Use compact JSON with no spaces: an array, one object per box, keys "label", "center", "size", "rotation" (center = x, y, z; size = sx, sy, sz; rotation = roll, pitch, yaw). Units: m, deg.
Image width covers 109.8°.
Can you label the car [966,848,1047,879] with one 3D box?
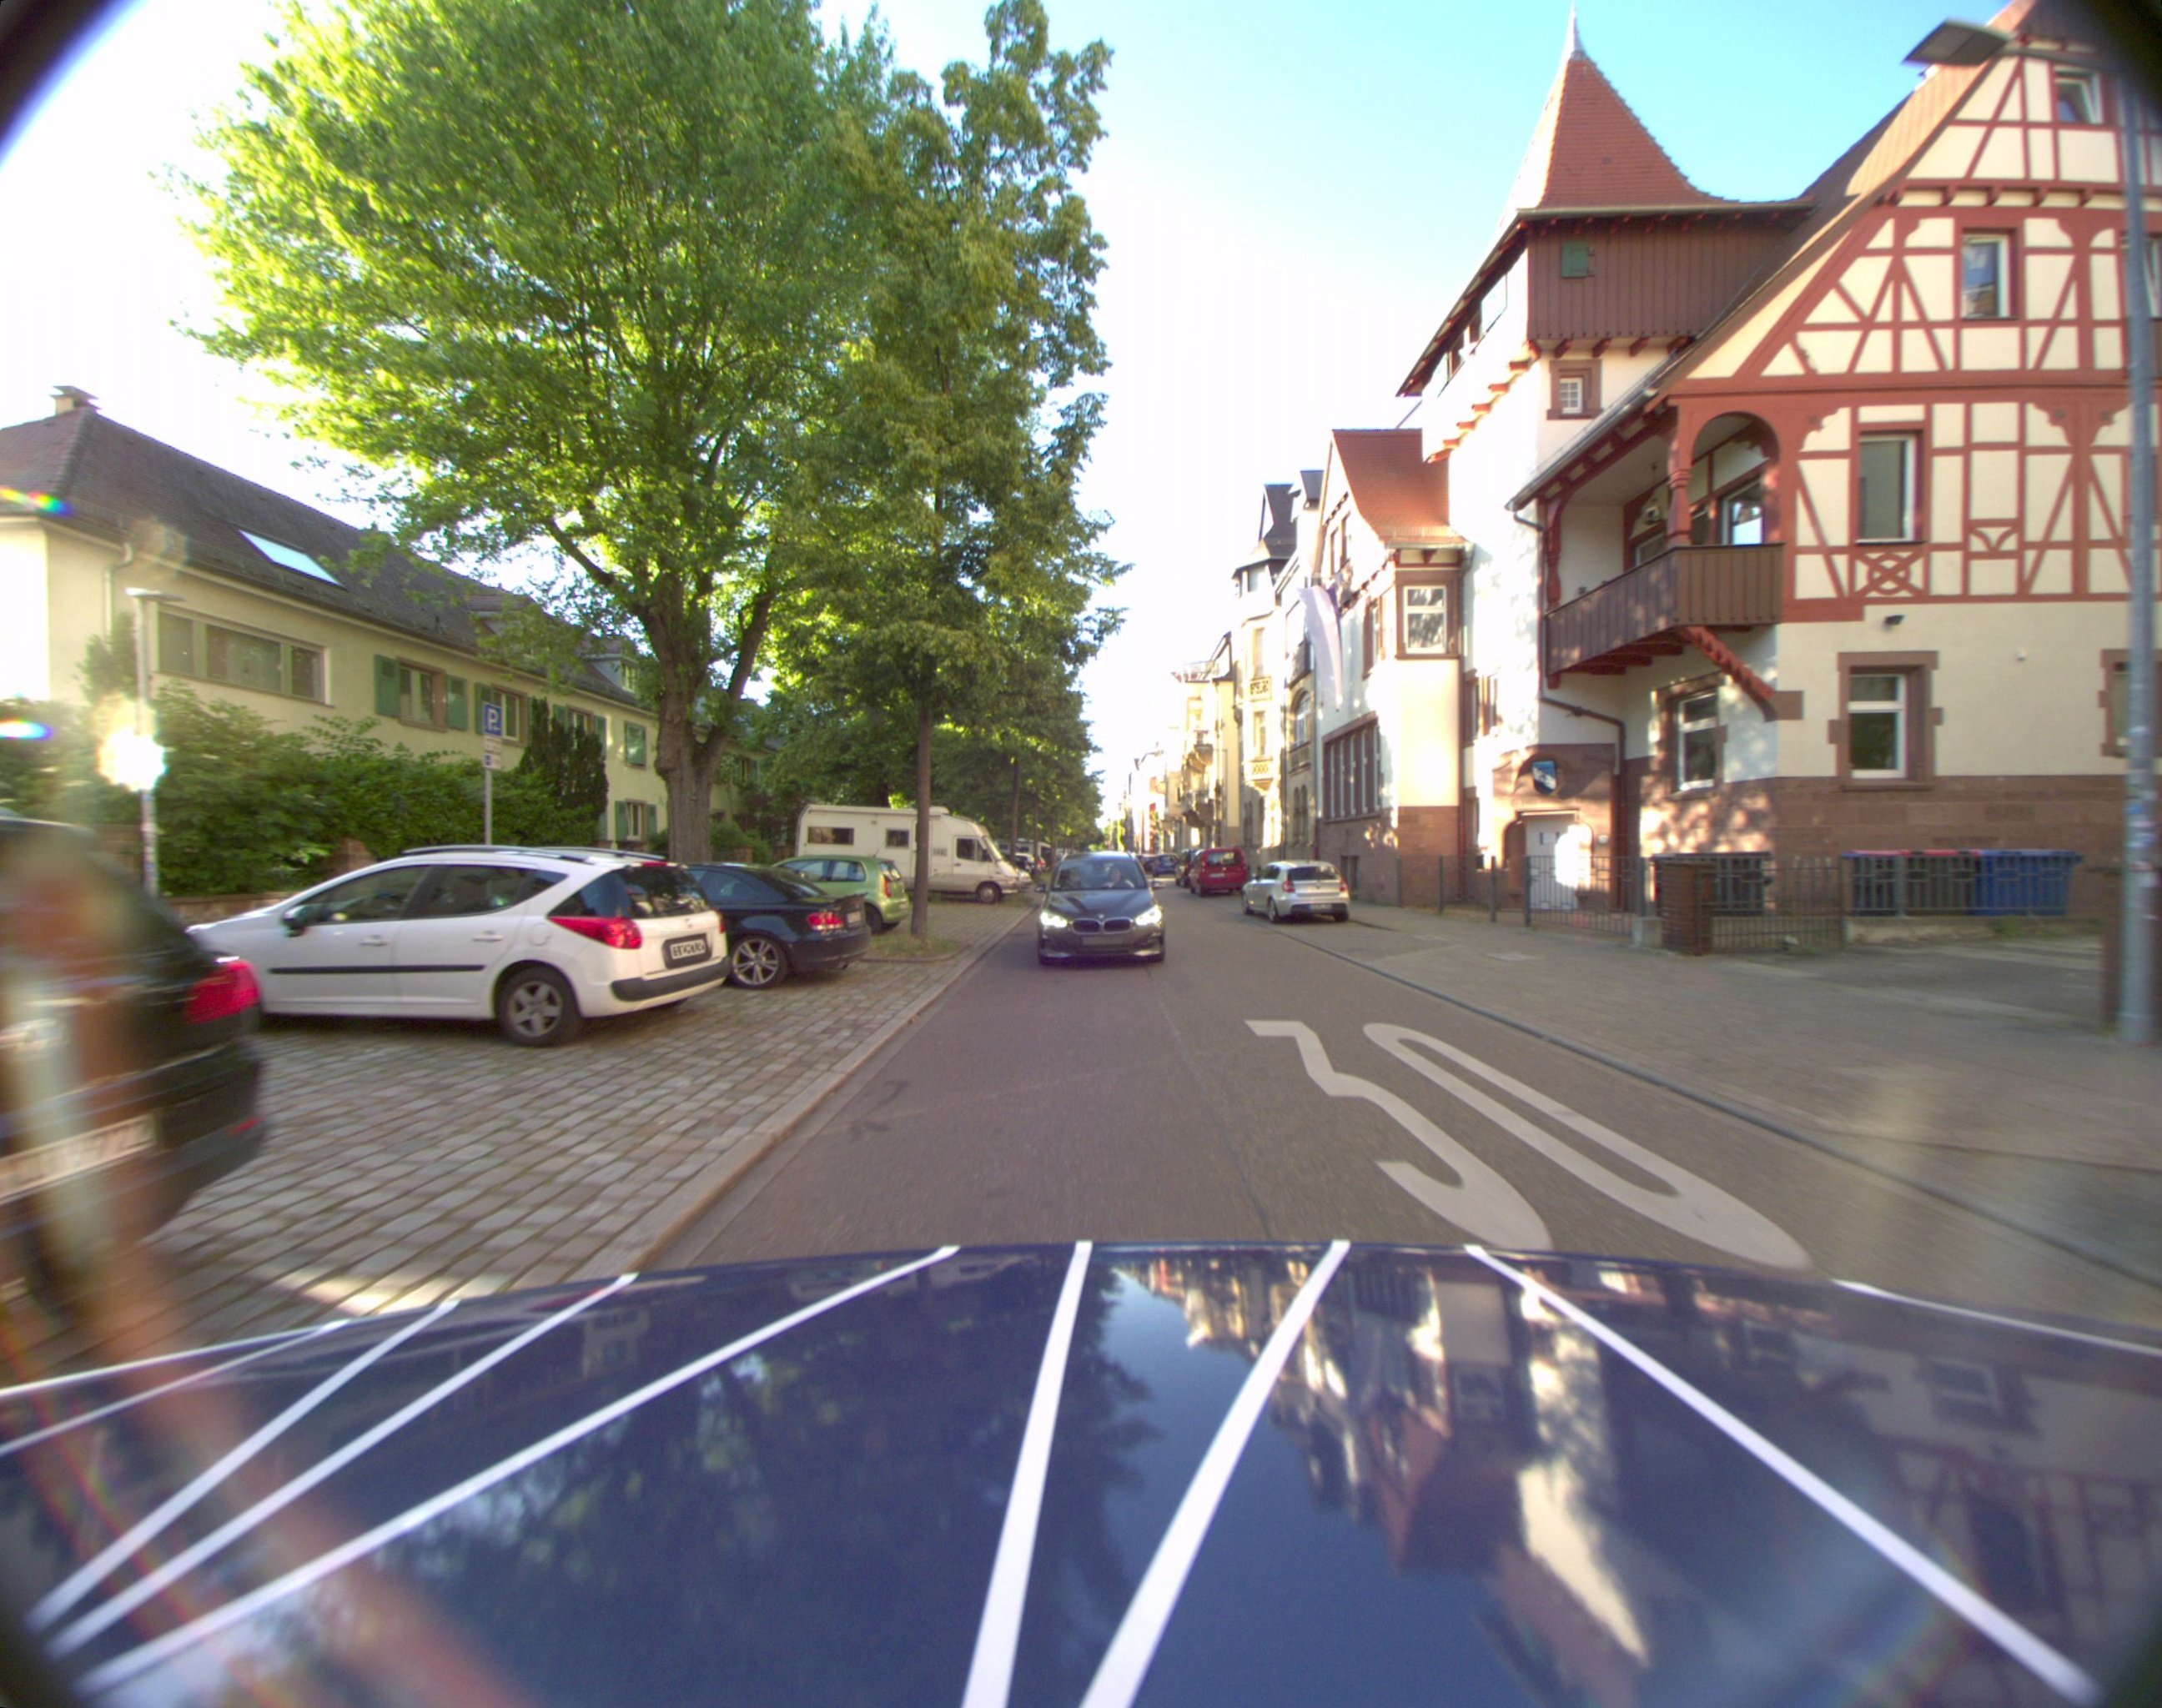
[{"label":"car","center":[-4.143,0.497,42.672],"size":[4.344,1.599,1.927],"rotation":[1,1,0]}]

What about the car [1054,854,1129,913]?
[{"label":"car","center":[0.225,0.841,23.528],"size":[1.999,1.584,4.261],"rotation":[-2,0,-3]}]

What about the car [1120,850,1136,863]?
[{"label":"car","center":[6.358,0.302,103.642],"size":[1.862,1.595,4.000],"rotation":[-3,0,1]}]

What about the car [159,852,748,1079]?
[{"label":"car","center":[-5.087,0.821,6.498],"size":[3.701,1.641,1.704],"rotation":[0,1,4]}]

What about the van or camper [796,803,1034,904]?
[{"label":"van or camper","center":[-5.135,-0.022,24.431],"size":[7.095,3.060,2.464],"rotation":[0,1,-2]}]

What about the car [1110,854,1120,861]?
[{"label":"car","center":[6.251,0.645,140.253],"size":[1.702,1.372,4.000],"rotation":[0,0,1]}]

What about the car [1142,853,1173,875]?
[{"label":"car","center":[5.833,0.728,58.386],"size":[1.905,1.430,4.541],"rotation":[-4,0,1]}]

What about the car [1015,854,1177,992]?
[{"label":"car","center":[0.238,0.854,11.657],"size":[1.924,1.597,4.517],"rotation":[-3,0,1]}]

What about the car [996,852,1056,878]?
[{"label":"car","center":[-3.253,0.640,45.348],"size":[3.456,1.467,1.693],"rotation":[1,1,1]}]

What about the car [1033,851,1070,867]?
[{"label":"car","center":[-3.309,0.522,85.982],"size":[3.997,1.804,2.000],"rotation":[0,1,1]}]

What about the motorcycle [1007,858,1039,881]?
[{"label":"motorcycle","center":[-3.020,0.785,39.557],"size":[0.739,1.190,1.771],"rotation":[-1,1,-43]}]

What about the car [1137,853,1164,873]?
[{"label":"car","center":[5.858,0.737,64.352],"size":[1.694,1.458,3.773],"rotation":[-5,0,-1]}]

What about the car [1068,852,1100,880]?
[{"label":"car","center":[0.240,0.734,49.589],"size":[1.998,1.745,4.000],"rotation":[0,0,1]}]

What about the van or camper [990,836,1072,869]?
[{"label":"van or camper","center":[-4.480,-0.165,69.393],"size":[7.266,2.888,2.427],"rotation":[0,2,1]}]

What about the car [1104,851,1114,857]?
[{"label":"car","center":[7.536,0.097,204.472],"size":[2.000,1.529,3.997],"rotation":[-3,0,-7]}]

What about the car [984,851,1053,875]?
[{"label":"car","center":[-4.224,0.597,51.646],"size":[4.468,1.469,1.753],"rotation":[2,1,2]}]

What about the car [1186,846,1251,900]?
[{"label":"car","center":[5.260,0.668,29.580],"size":[1.803,1.896,4.324],"rotation":[-2,0,1]}]

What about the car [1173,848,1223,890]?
[{"label":"car","center":[5.507,0.672,36.267],"size":[1.774,1.841,4.542],"rotation":[-1,0,1]}]

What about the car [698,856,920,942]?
[{"label":"car","center":[-5.048,0.814,14.420],"size":[3.598,1.496,1.678],"rotation":[1,0,2]}]

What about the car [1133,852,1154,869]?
[{"label":"car","center":[5.842,0.620,71.444],"size":[1.747,1.457,3.998],"rotation":[-2,0,2]}]

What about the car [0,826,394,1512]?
[{"label":"car","center":[-4.735,0.756,1.878],"size":[4.117,1.702,2.023],"rotation":[1,0,-3]}]

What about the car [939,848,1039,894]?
[{"label":"car","center":[-3.801,0.689,31.827],"size":[3.924,1.734,1.729],"rotation":[2,1,1]}]

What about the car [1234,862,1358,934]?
[{"label":"car","center":[5.053,0.964,18.426],"size":[1.748,1.458,4.102],"rotation":[-1,0,-1]}]

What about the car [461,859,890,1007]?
[{"label":"car","center":[-4.593,0.857,9.058],"size":[4.115,1.403,1.792],"rotation":[2,1,1]}]

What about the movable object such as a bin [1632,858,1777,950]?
[{"label":"movable object such as a bin","center":[9.227,0.716,11.314],"size":[1.378,1.291,0.969],"rotation":[-1,1,11]}]

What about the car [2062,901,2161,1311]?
[{"label":"car","center":[4.756,0.911,1.125],"size":[1.709,1.477,3.797],"rotation":[-3,0,1]}]

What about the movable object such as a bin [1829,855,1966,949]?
[{"label":"movable object such as a bin","center":[11.972,0.678,11.160],"size":[1.384,1.310,0.686],"rotation":[-1,1,-6]}]

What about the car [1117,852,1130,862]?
[{"label":"car","center":[6.703,0.444,119.627],"size":[1.922,1.510,4.000],"rotation":[0,0,1]}]

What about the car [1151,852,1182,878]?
[{"label":"car","center":[5.540,0.680,49.477],"size":[1.688,1.500,2.861],"rotation":[-4,0,1]}]

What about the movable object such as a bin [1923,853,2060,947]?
[{"label":"movable object such as a bin","center":[13.255,0.655,11.086],"size":[1.204,1.302,0.631],"rotation":[-1,1,3]}]
